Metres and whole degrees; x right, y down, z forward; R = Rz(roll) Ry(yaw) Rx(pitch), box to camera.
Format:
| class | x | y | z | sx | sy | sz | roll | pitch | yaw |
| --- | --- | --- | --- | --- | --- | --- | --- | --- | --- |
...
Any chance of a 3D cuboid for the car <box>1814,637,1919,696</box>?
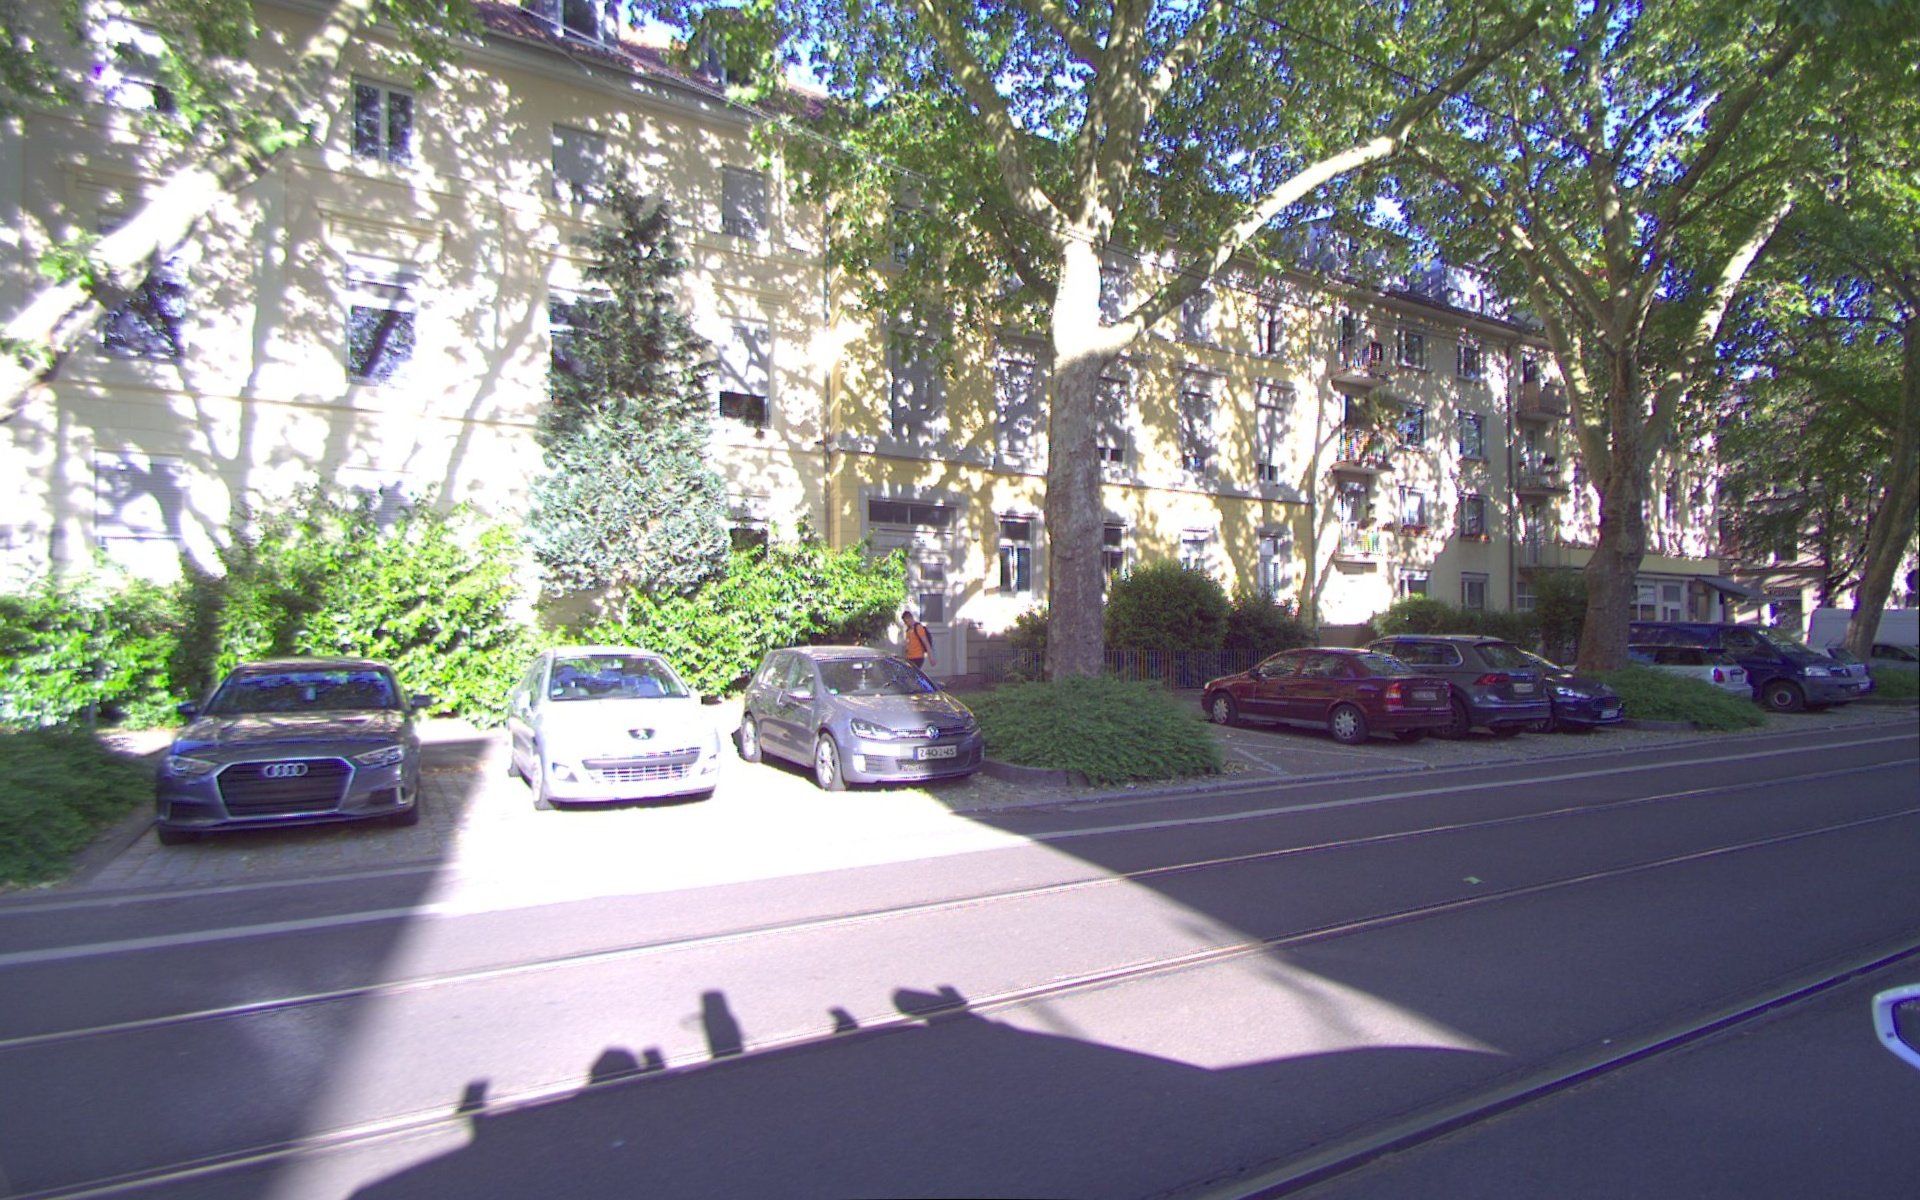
| class | x | y | z | sx | sy | sz | roll | pitch | yaw |
| --- | --- | --- | --- | --- | --- | --- | --- | --- | --- |
| car | 26.191 | 1.823 | 27.549 | 1.656 | 1.518 | 3.903 | 1 | -1 | -28 |

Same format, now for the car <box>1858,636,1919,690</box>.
| class | x | y | z | sx | sy | sz | roll | pitch | yaw |
| --- | --- | --- | --- | --- | --- | --- | --- | --- | --- |
| car | 28.965 | 1.868 | 29.256 | 1.659 | 1.518 | 3.898 | 1 | -1 | -32 |

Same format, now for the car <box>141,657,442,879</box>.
| class | x | y | z | sx | sy | sz | roll | pitch | yaw |
| --- | --- | --- | --- | --- | --- | --- | --- | --- | --- |
| car | -5.799 | 1.285 | 9.106 | 1.825 | 1.350 | 3.902 | 1 | -1 | -29 |

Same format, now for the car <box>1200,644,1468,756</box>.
| class | x | y | z | sx | sy | sz | roll | pitch | yaw |
| --- | --- | --- | --- | --- | --- | --- | --- | --- | --- |
| car | 5.925 | 1.514 | 16.355 | 1.728 | 1.461 | 3.902 | 1 | -1 | -29 |

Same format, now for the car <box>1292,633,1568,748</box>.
| class | x | y | z | sx | sy | sz | roll | pitch | yaw |
| --- | --- | --- | --- | --- | --- | --- | --- | --- | --- |
| car | 7.930 | 1.439 | 17.304 | 1.857 | 1.648 | 3.976 | 1 | -1 | -30 |

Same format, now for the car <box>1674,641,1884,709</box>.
| class | x | y | z | sx | sy | sz | roll | pitch | yaw |
| --- | --- | --- | --- | --- | --- | --- | --- | --- | --- |
| car | 20.145 | 1.792 | 24.871 | 1.618 | 1.449 | 3.717 | 1 | -1 | -30 |

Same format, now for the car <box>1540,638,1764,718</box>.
| class | x | y | z | sx | sy | sz | roll | pitch | yaw |
| --- | --- | --- | --- | --- | --- | --- | --- | --- | --- |
| car | 15.220 | 1.647 | 22.282 | 1.726 | 1.518 | 3.717 | 1 | -1 | -30 |

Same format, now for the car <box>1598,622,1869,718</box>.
| class | x | y | z | sx | sy | sz | roll | pitch | yaw |
| --- | --- | --- | --- | --- | --- | --- | --- | --- | --- |
| car | 17.878 | 1.520 | 23.490 | 1.956 | 1.949 | 4.655 | 1 | -1 | -28 |

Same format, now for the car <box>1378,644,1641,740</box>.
| class | x | y | z | sx | sy | sz | roll | pitch | yaw |
| --- | --- | --- | --- | --- | --- | --- | --- | --- | --- |
| car | 9.987 | 1.588 | 18.526 | 1.798 | 1.440 | 3.899 | 1 | -1 | -31 |

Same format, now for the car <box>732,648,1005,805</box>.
| class | x | y | z | sx | sy | sz | roll | pitch | yaw |
| --- | --- | --- | --- | --- | --- | --- | --- | --- | --- |
| car | -1.242 | 1.322 | 11.847 | 1.784 | 1.481 | 3.903 | 1 | -3 | -29 |

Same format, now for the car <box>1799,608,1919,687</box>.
| class | x | y | z | sx | sy | sz | roll | pitch | yaw |
| --- | --- | --- | --- | --- | --- | --- | --- | --- | --- |
| car | 30.635 | 1.480 | 31.214 | 2.428 | 2.441 | 6.598 | 1 | -1 | -29 |

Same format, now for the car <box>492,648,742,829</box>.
| class | x | y | z | sx | sy | sz | roll | pitch | yaw |
| --- | --- | --- | --- | --- | --- | --- | --- | --- | --- |
| car | -3.768 | 1.264 | 10.593 | 1.779 | 1.472 | 3.903 | 1 | -2 | -30 |

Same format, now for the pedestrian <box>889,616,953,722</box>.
| class | x | y | z | sx | sy | sz | roll | pitch | yaw |
| --- | --- | --- | --- | --- | --- | --- | --- | --- | --- |
| pedestrian | -0.718 | 1.245 | 18.500 | 0.830 | 1.874 | 0.858 | 1 | -2 | -37 |
